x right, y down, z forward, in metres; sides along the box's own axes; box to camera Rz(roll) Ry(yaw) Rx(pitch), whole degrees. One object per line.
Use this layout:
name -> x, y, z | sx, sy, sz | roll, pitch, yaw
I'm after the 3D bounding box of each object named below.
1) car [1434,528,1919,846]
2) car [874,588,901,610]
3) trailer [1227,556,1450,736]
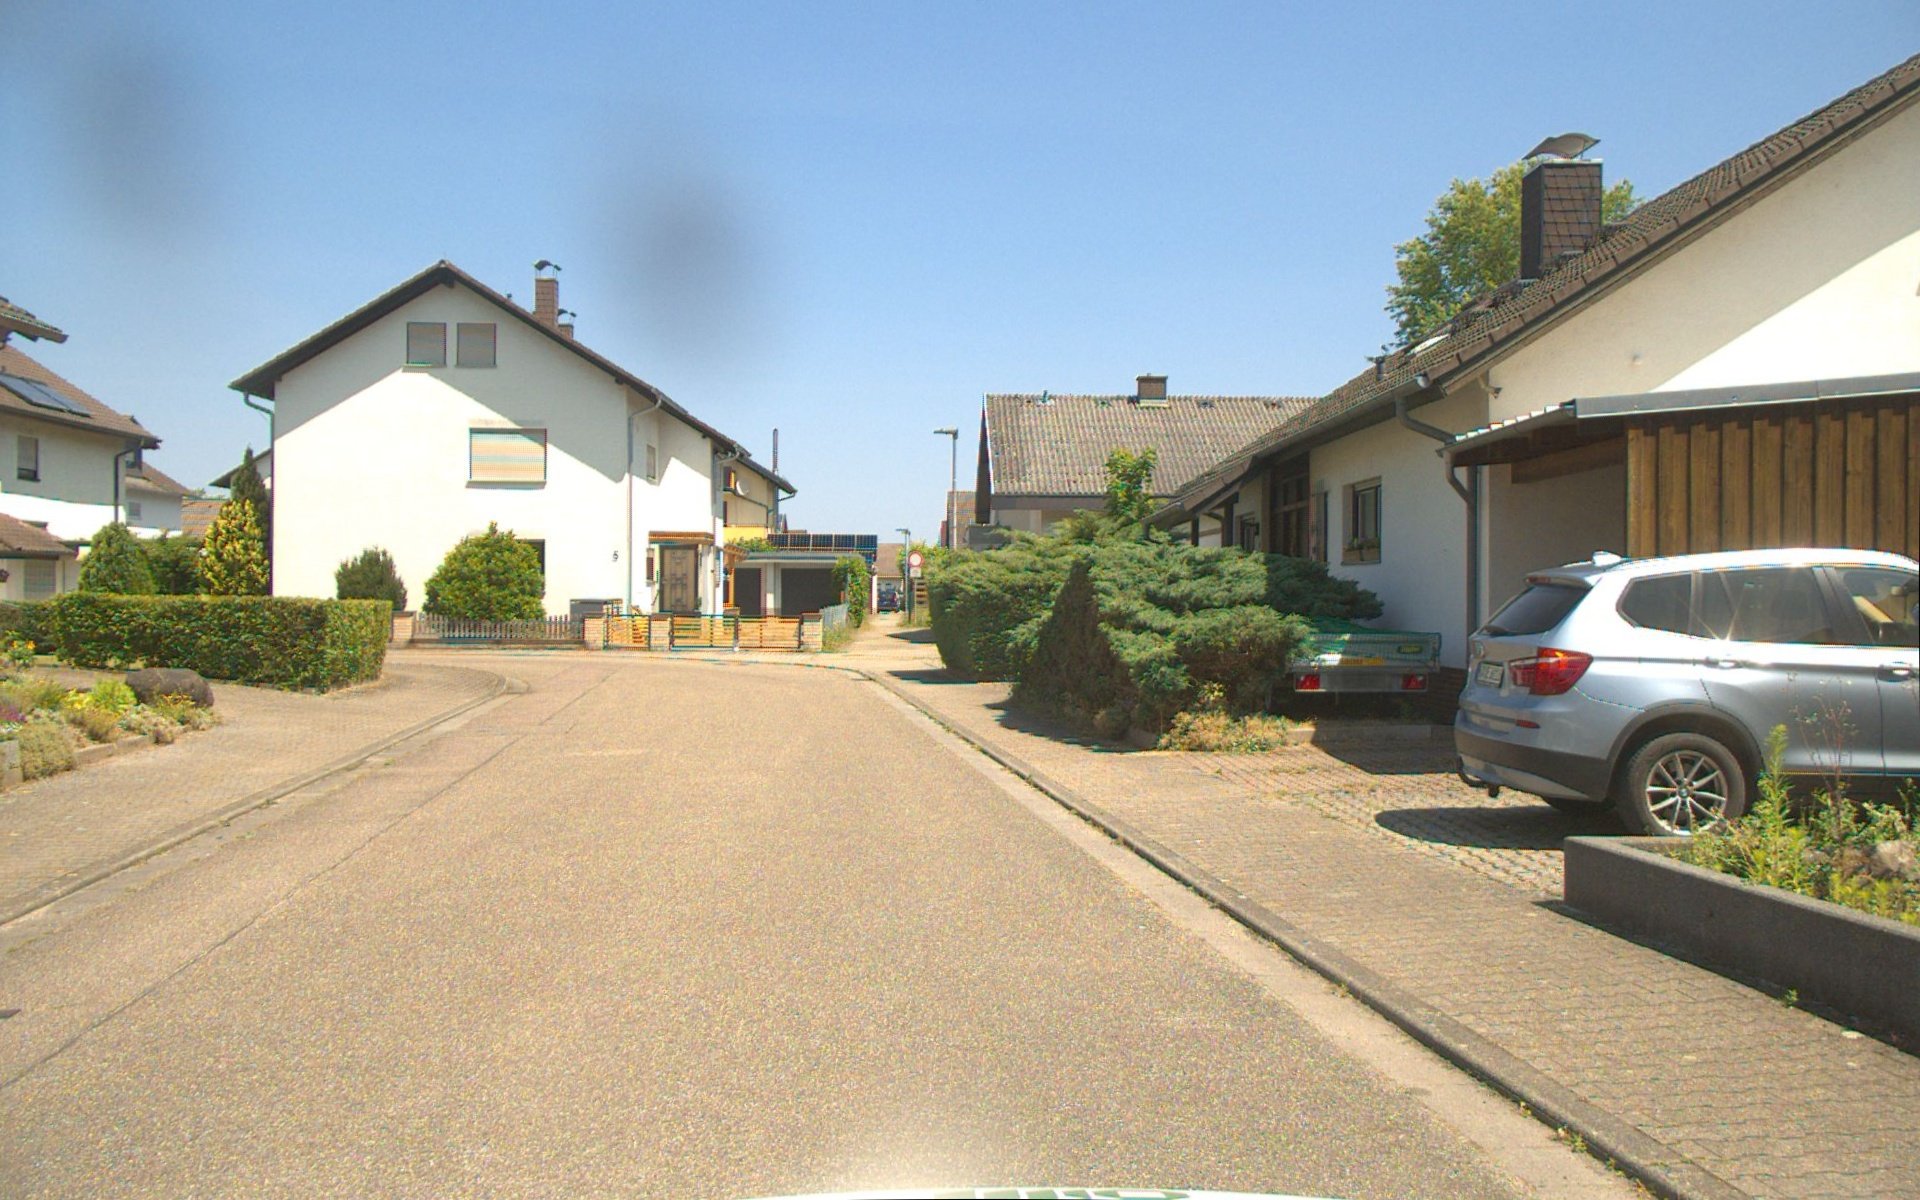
car -> 5.423, 0.460, 10.126 | 4.531, 1.732, 1.710 | -1, 0, 1
car -> -5.908, -0.074, 135.466 | 2.149, 1.731, 3.806 | 0, 0, -1
trailer -> 3.935, 0.422, 17.667 | 1.555, 1.701, 3.296 | -1, 1, -1
